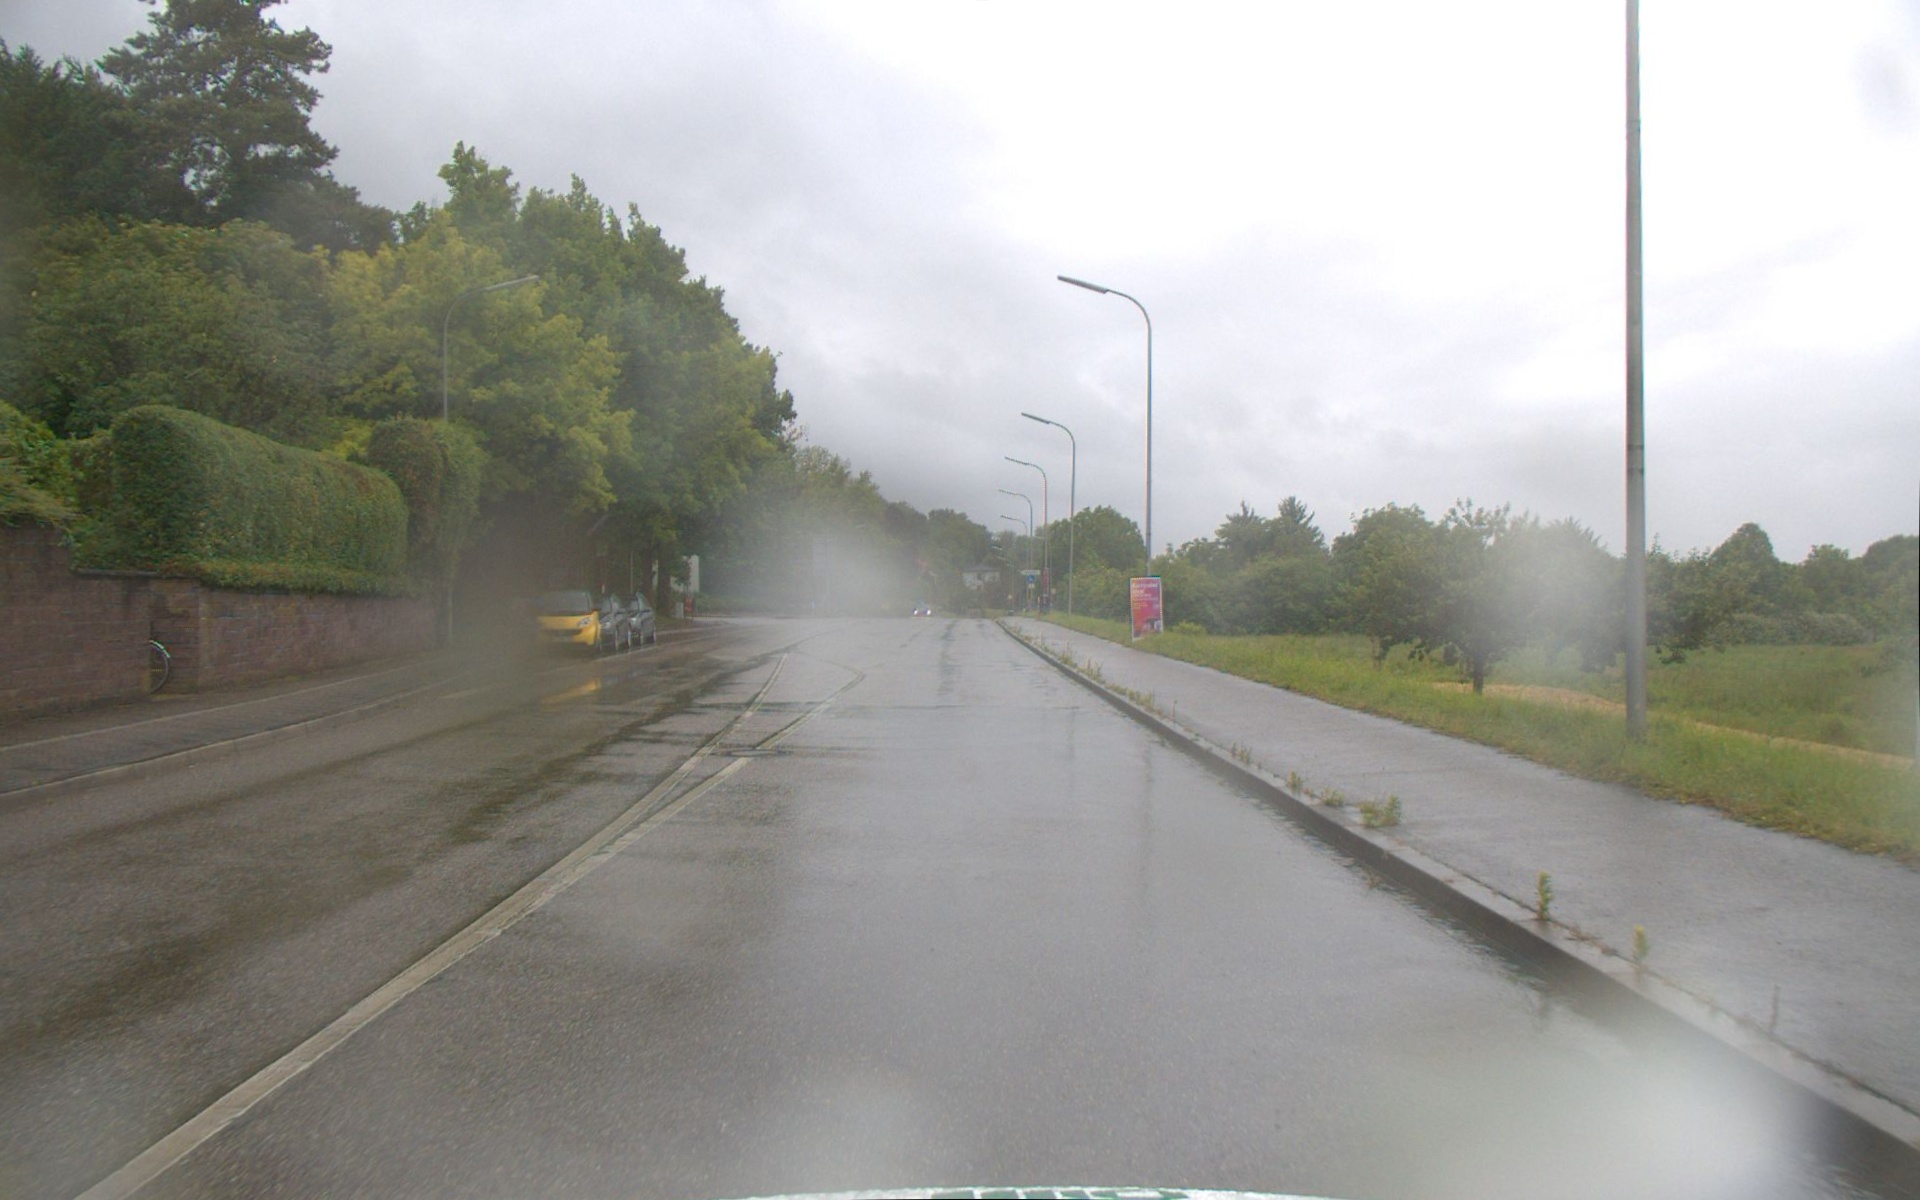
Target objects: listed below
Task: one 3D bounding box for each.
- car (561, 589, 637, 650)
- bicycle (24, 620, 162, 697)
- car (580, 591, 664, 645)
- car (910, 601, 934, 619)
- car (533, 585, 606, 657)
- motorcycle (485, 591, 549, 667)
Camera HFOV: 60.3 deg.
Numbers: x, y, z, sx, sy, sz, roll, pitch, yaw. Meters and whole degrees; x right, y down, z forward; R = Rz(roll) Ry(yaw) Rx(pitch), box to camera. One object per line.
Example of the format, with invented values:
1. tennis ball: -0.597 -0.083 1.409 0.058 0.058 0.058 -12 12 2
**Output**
1. car: -9.109 0.476 41.937 1.405 1.444 4.099 -1 0 -6
2. bicycle: -11.029 0.738 21.064 1.456 0.946 0.469 1 -1 -7
3. car: -9.607 0.492 47.289 1.653 1.444 4.738 -1 0 -3
4. car: -3.956 1.021 172.502 1.756 1.793 4.003 1 0 9
5. car: -8.909 0.465 37.882 1.407 1.564 2.813 -1 0 -9
6. motorcycle: -8.344 0.533 31.237 0.821 1.364 2.495 -1 0 -7
